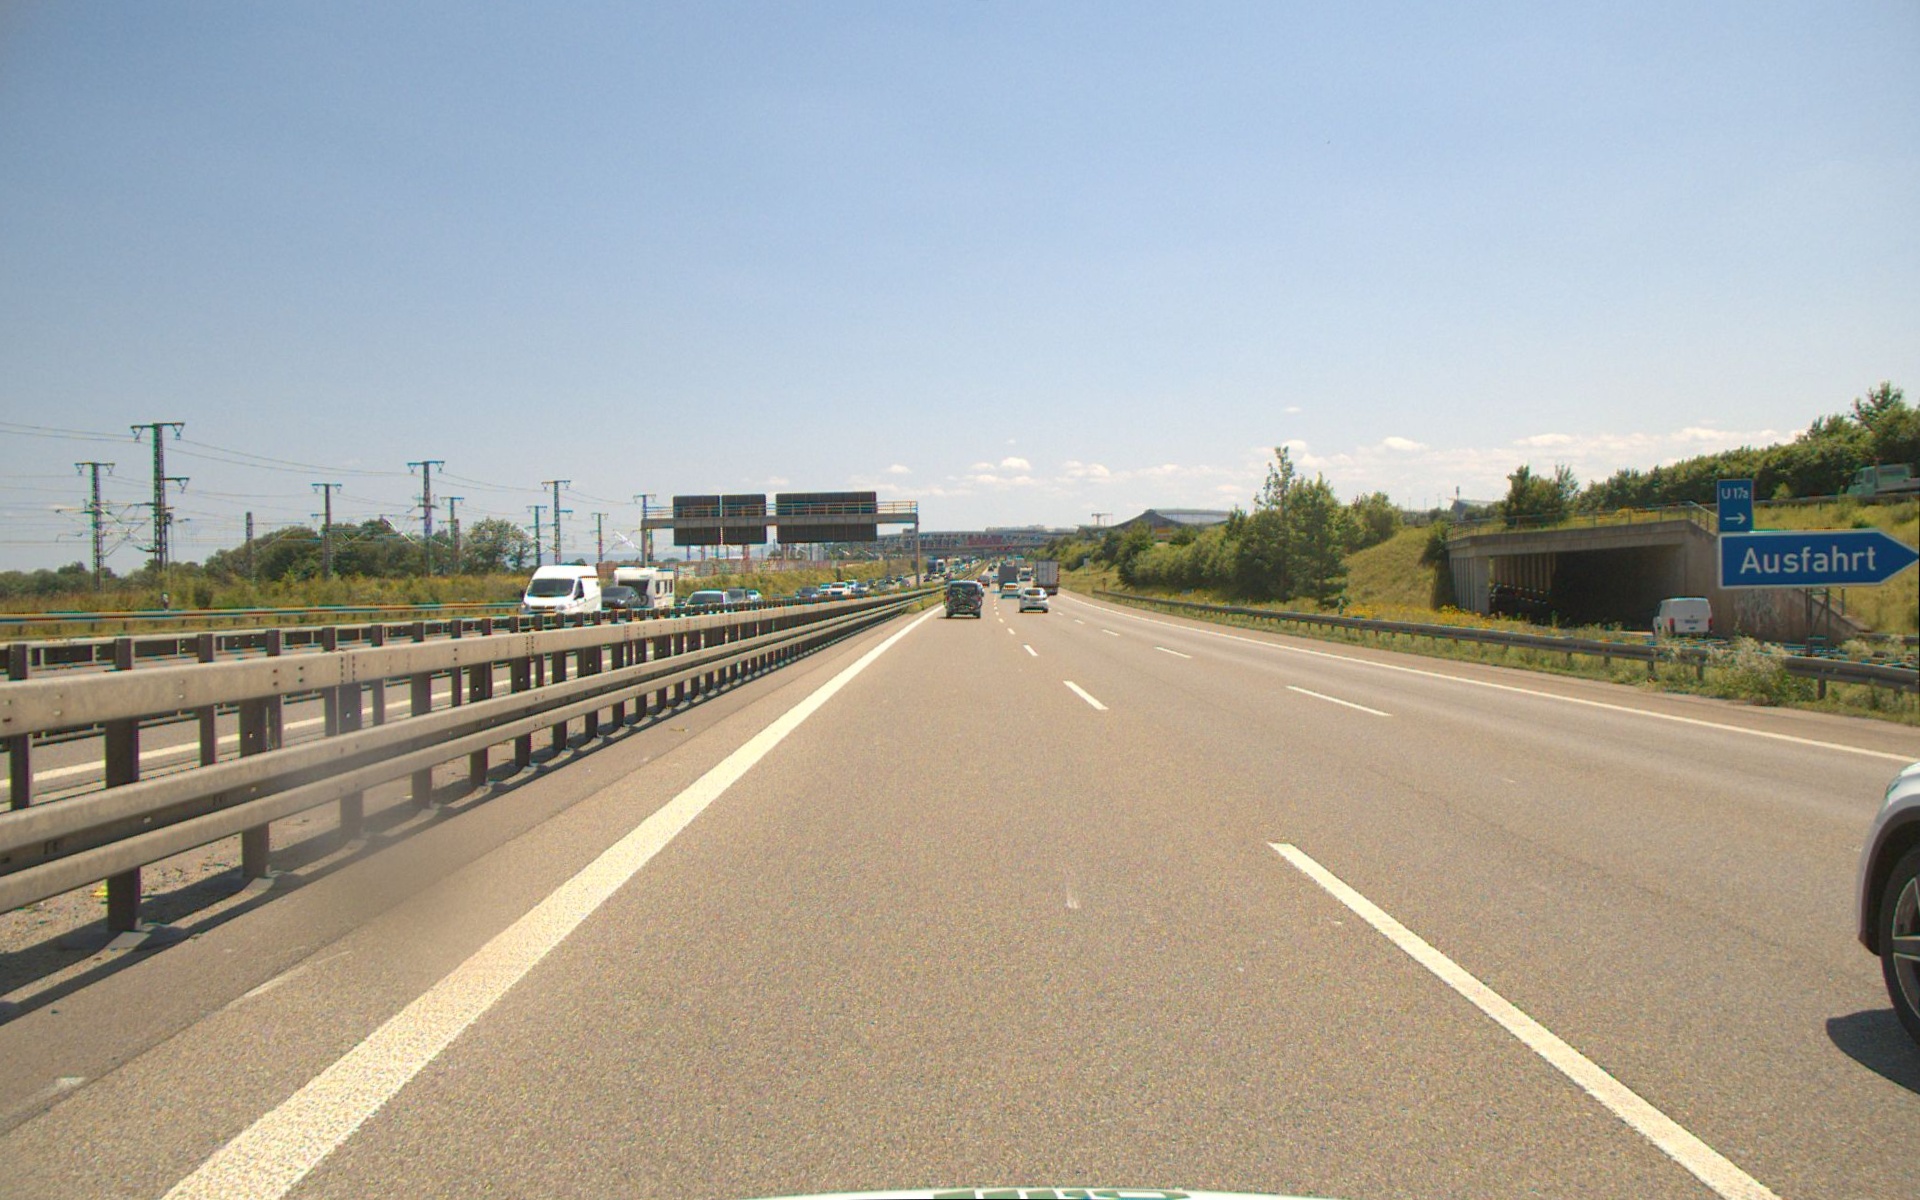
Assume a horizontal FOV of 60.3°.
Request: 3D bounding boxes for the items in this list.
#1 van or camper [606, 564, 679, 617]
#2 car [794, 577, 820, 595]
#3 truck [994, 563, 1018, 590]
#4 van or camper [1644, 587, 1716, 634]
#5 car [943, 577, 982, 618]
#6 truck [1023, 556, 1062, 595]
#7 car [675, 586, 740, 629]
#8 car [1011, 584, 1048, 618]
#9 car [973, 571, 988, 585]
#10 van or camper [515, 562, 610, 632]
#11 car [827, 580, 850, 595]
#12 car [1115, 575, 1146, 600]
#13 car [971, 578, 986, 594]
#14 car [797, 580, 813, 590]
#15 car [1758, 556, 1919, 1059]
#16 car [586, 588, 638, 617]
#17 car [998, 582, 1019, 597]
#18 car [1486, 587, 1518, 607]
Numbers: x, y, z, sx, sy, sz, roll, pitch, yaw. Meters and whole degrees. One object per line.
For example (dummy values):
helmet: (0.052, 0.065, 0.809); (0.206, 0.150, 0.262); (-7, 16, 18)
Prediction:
van or camper: (-17.146, -0.527, 89.889); (2.465, 2.711, 8.063); (0, 0, 0)
car: (-12.086, -1.127, 130.825); (1.729, 1.370, 4.000); (0, 0, -1)
truck: (5.888, -2.998, 213.575); (2.647, 3.163, 10.657); (1, -1, 0)
van or camper: (32.338, 0.489, 74.416); (2.110, 2.049, 4.308); (0, -1, 12)
car: (0.135, -0.091, 83.107); (1.887, 1.952, 4.947); (1, -1, 0)
truck: (9.623, -2.973, 194.489); (3.957, 4.336, 11.757); (1, 2, 0)
car: (-9.020, 0.249, 59.382); (1.664, 1.490, 4.437); (0, 0, 0)
car: (4.183, 0.092, 100.228); (1.888, 1.952, 4.515); (1, -1, -2)
car: (3.292, -3.546, 261.239); (2.142, 2.037, 4.000); (1, 3, -2)
van or camper: (-13.950, -0.125, 58.415); (1.953, 2.340, 5.893); (0, 0, 0)
car: (-11.196, -1.169, 152.597); (1.907, 1.370, 4.000); (0, 0, -1)
car: (13.894, -1.035, 135.228); (1.888, 1.952, 4.515); (1, -1, -2)
car: (1.965, -1.426, 174.066); (1.543, 1.579, 3.964); (0, -1, 1)
car: (-21.360, -2.023, 228.313); (1.907, 1.370, 4.000); (0, 0, -1)
car: (4.149, 0.683, 4.144); (1.859, 1.676, 4.997); (1, -1, -1)
car: (-17.326, 0.099, 82.523); (1.729, 1.370, 4.381); (0, 0, 0)
car: (4.809, -1.034, 164.242); (1.941, 1.499, 3.999); (0, 0, -1)
car: (48.689, -0.271, 148.673); (1.951, 1.780, 4.003); (0, -1, 7)
